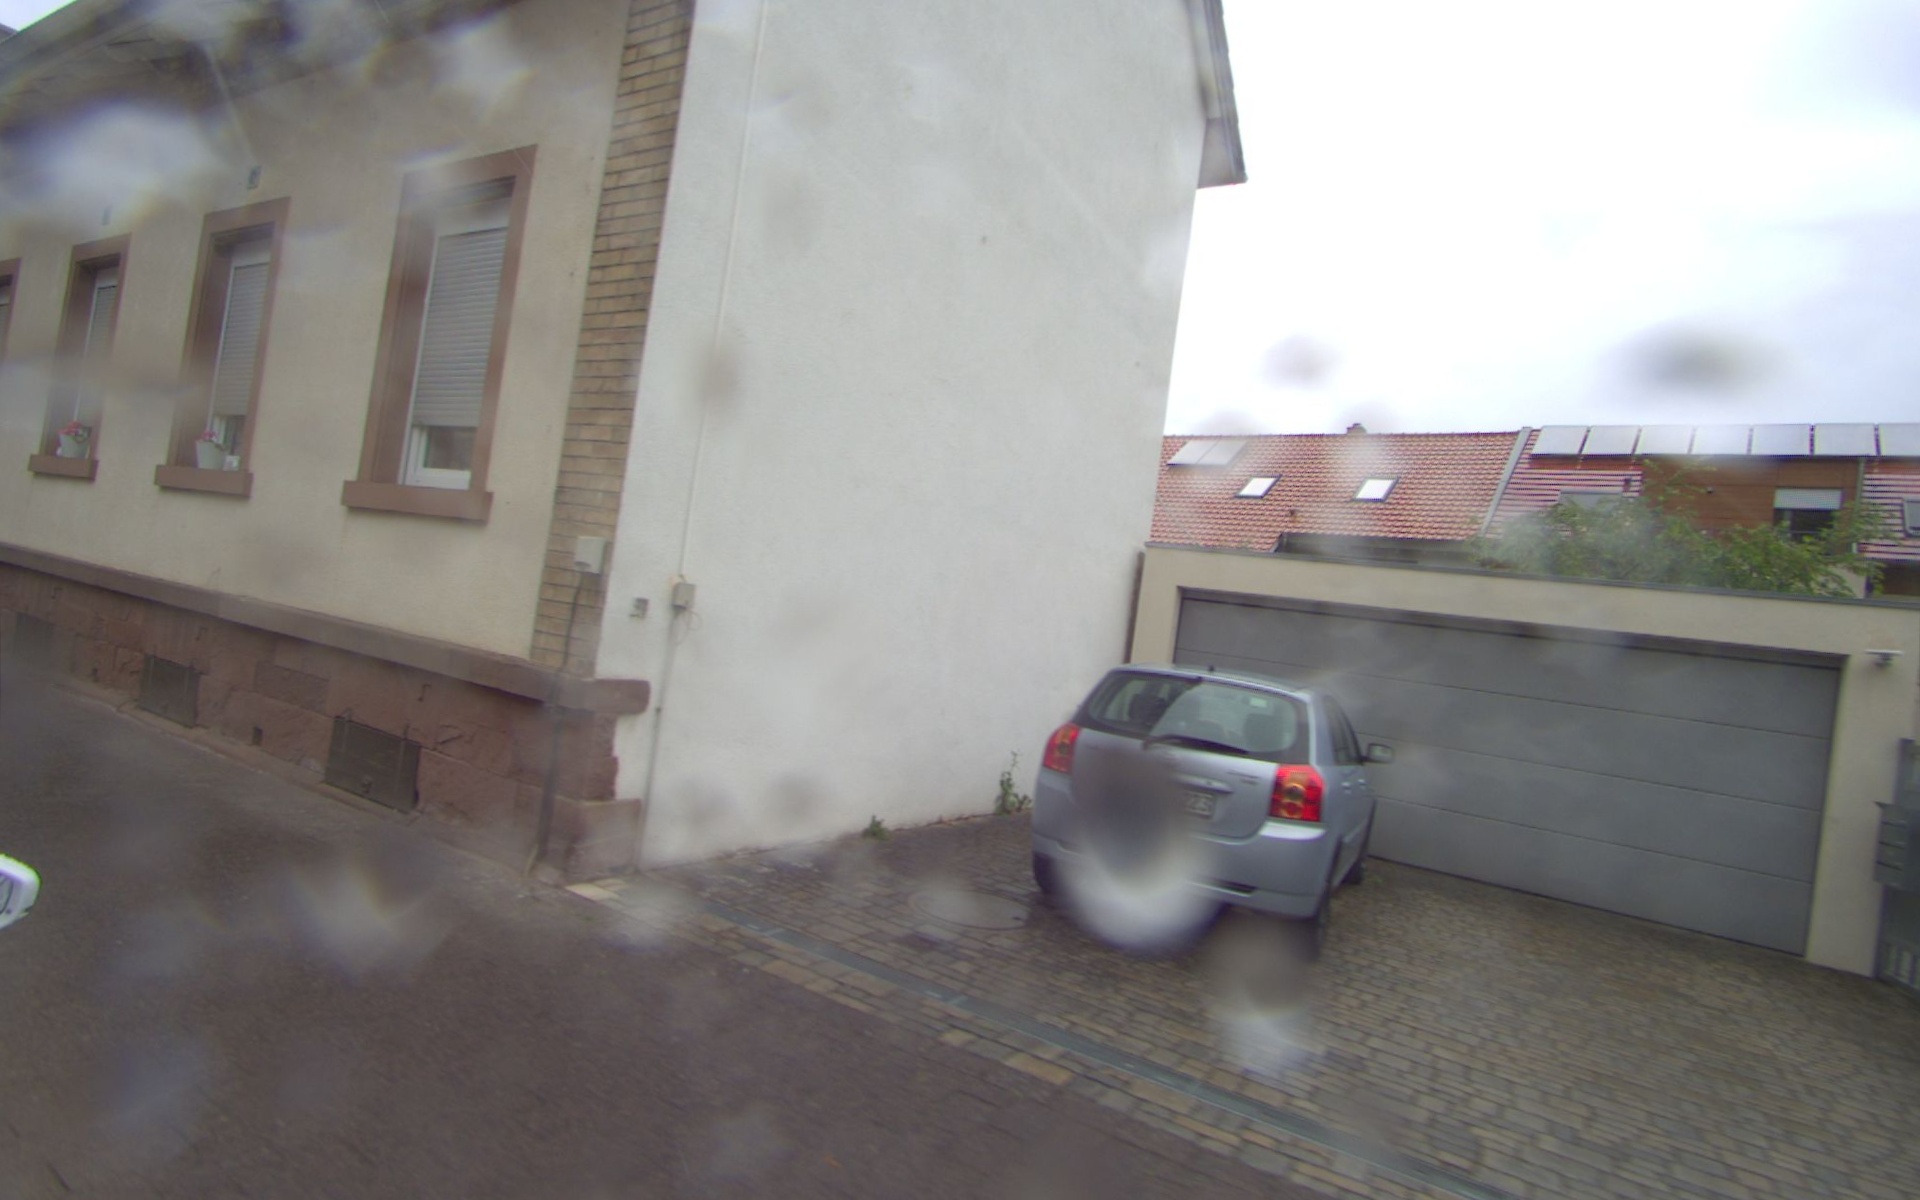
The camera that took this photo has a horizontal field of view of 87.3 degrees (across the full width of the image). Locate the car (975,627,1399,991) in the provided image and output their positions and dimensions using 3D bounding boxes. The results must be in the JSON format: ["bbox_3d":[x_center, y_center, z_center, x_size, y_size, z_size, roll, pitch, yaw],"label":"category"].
[{"bbox_3d":[1.837,1.216,6.872,1.819,1.514,3.910,6,-4,27],"label":"car"}]
